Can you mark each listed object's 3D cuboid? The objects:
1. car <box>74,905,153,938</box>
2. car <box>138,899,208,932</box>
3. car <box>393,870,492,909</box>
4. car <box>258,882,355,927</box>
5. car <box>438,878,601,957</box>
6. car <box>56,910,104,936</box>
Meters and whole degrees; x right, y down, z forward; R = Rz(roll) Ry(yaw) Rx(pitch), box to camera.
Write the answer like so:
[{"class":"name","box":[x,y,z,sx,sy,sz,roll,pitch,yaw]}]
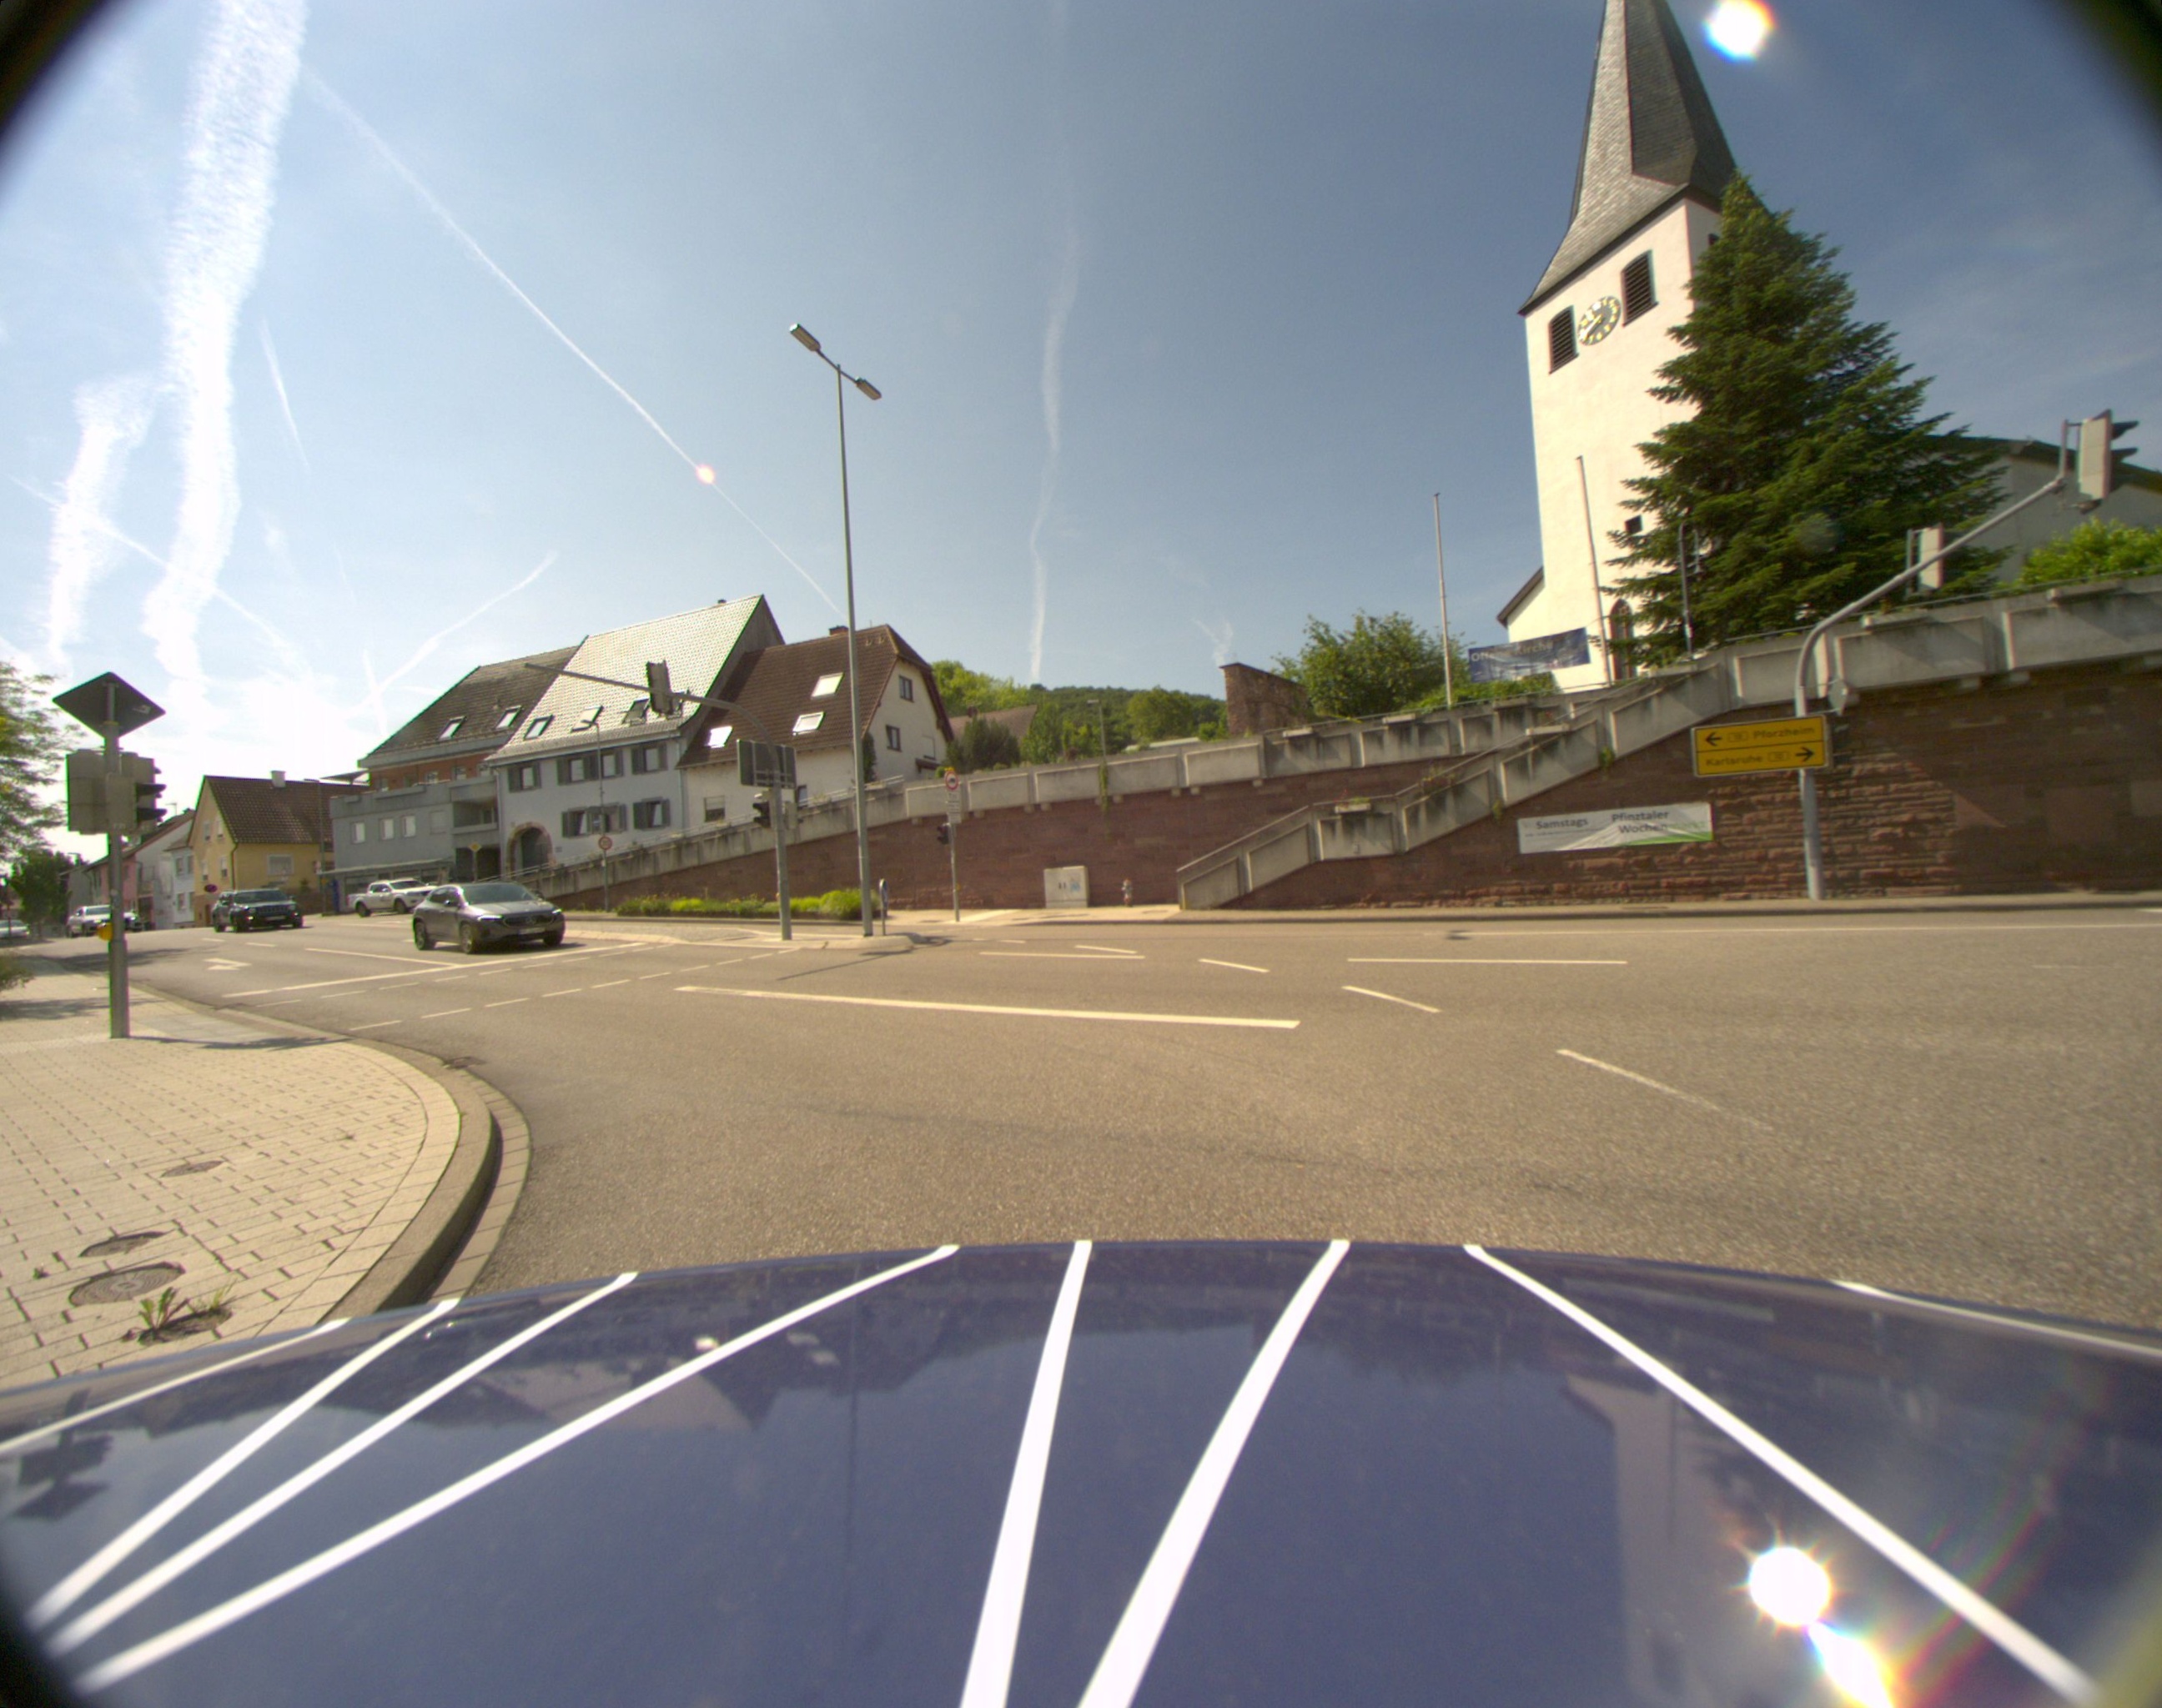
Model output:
[{"class":"car","box":[-50.101,3.489,39.354,3.699,1.418,1.791,-4,2,28]},{"class":"car","box":[-49.273,3.331,41.216,4.088,1.533,1.784,-3,1,31]},{"class":"car","box":[-34.090,1.914,40.540,5.274,1.788,1.813,-3,0,23]},{"class":"car","box":[-31.713,2.058,31.094,4.382,1.642,1.797,-3,0,32]},{"class":"car","box":[-13.538,1.454,18.238,4.278,1.564,1.742,-2,2,34]},{"class":"car","box":[-66.996,4.578,50.854,4.159,1.533,1.841,-3,0,37]}]
